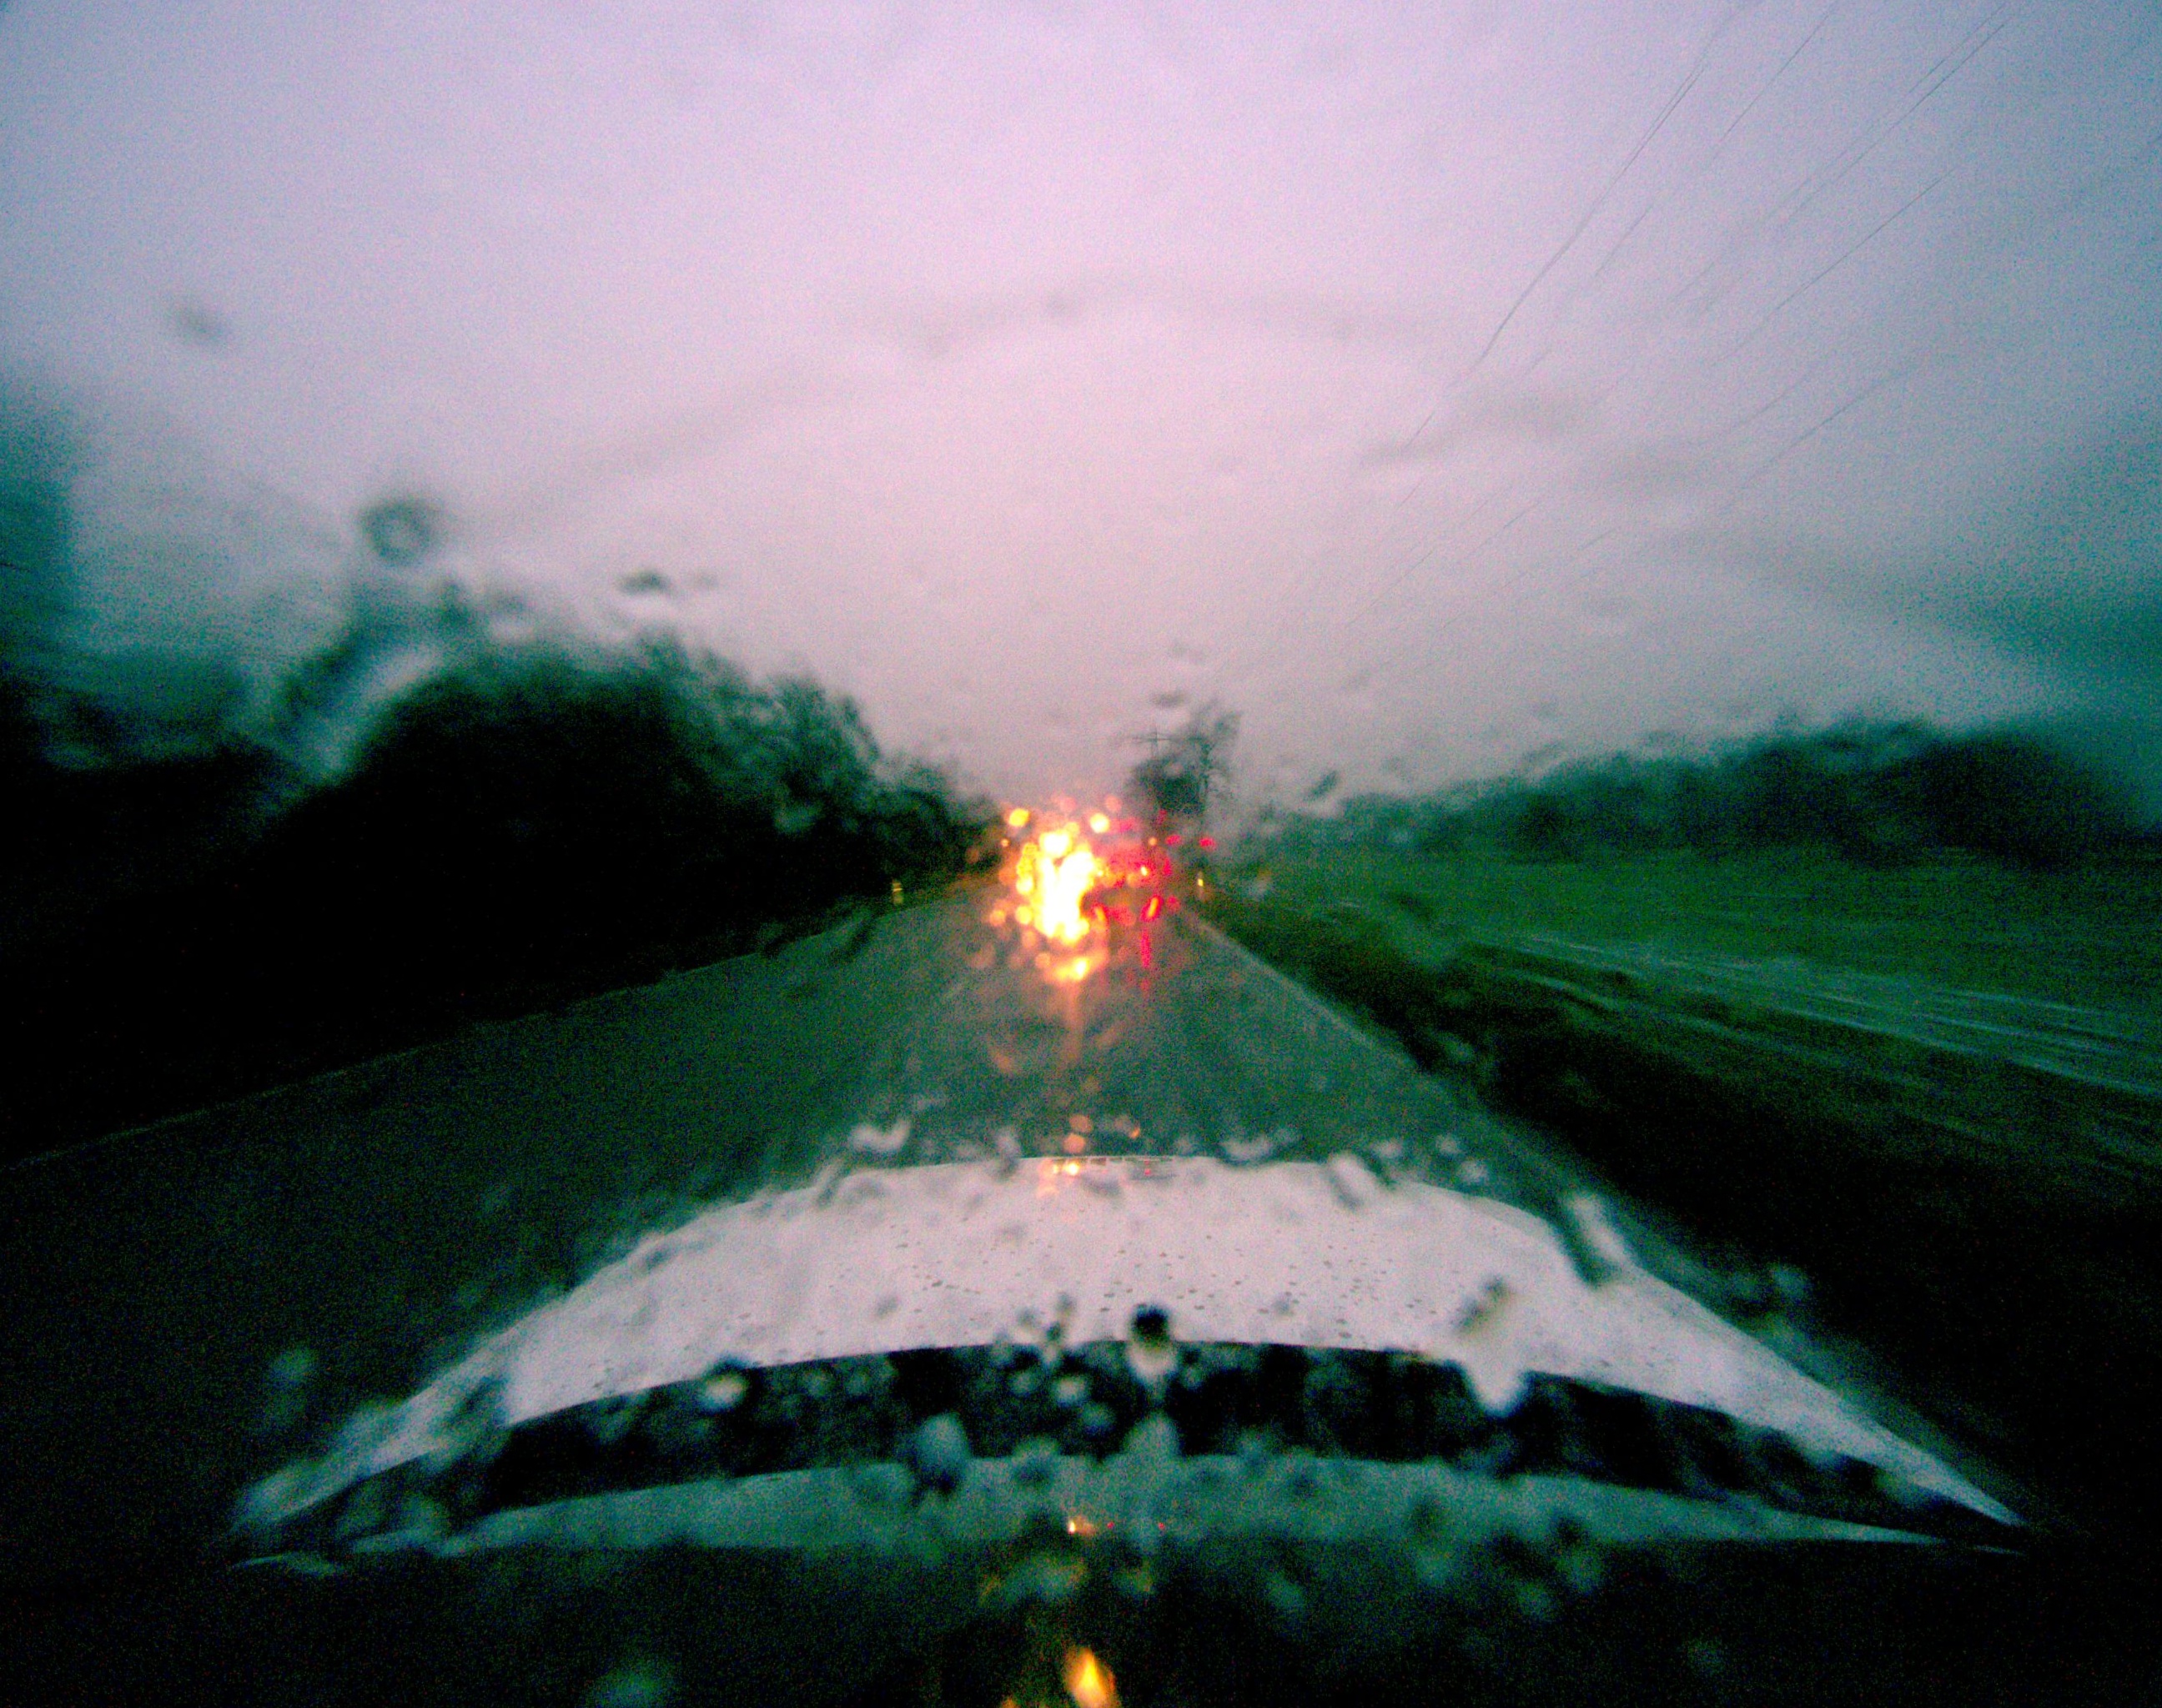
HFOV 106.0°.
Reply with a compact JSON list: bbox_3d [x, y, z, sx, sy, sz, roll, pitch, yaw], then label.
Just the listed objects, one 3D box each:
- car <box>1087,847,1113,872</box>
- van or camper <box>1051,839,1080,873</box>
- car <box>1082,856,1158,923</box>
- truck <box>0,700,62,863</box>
[{"bbox_3d":[1.631,0.433,68.514,1.985,2.013,4.002,-2,0,2],"label":"car"},{"bbox_3d":[-1.280,0.175,70.281,2.013,2.776,6.746,-2,0,2],"label":"van or camper"},{"bbox_3d":[1.087,0.962,23.673,1.986,1.752,4.001,-1,0,1],"label":"car"},{"bbox_3d":[-25.658,-1.603,16.213,2.981,3.632,6.068,-1,0,1],"label":"truck"}]
